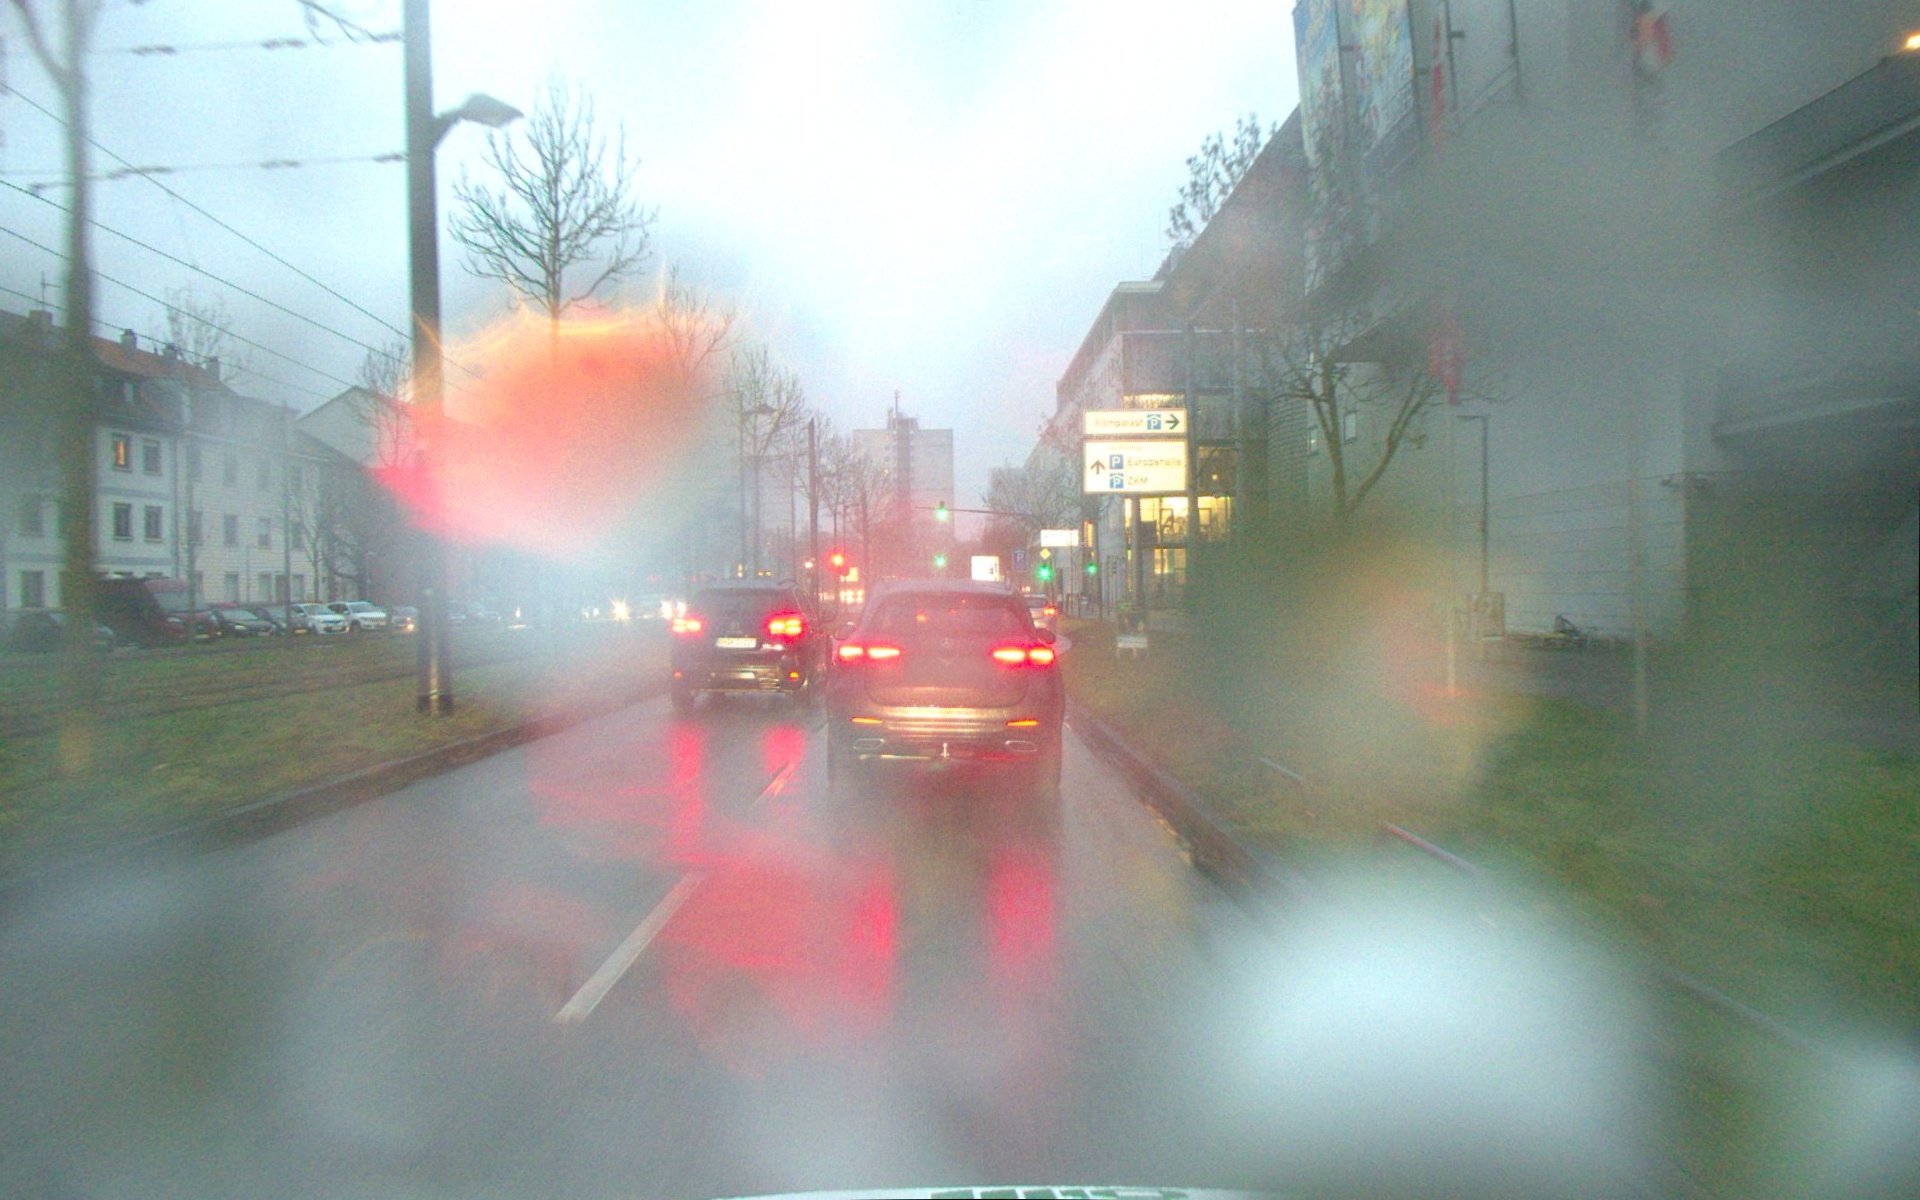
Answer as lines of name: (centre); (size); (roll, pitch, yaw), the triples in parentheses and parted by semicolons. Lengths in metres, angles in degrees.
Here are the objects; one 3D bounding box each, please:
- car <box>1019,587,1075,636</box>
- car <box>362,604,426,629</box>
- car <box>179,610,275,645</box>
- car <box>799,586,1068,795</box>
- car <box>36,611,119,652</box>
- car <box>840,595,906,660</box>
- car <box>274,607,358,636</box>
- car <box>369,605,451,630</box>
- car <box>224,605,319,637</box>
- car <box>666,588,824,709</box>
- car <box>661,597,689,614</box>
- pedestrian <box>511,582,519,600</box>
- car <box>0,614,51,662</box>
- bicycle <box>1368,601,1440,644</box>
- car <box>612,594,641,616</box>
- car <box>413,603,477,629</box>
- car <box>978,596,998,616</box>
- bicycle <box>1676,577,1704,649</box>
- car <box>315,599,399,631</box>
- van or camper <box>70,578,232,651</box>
car: (2.924, 0.368, 56.038); (1.828, 1.570, 3.611); (1, 0, 2)
car: (-27.894, 0.802, 81.540); (2.978, 1.167, 1.394); (1, 0, 30)
car: (-28.615, 1.049, 64.551); (3.464, 1.233, 1.744); (1, 0, 31)
car: (-0.222, 0.666, 14.010); (1.953, 1.509, 3.699); (1, 0, -1)
car: (-27.846, 0.976, 52.147); (2.835, 1.225, 1.381); (1, 0, 41)
car: (-2.327, 0.712, 44.878); (1.655, 1.664, 3.473); (1, 0, -1)
car: (-27.755, 0.924, 71.271); (3.345, 1.167, 1.688); (1, 0, 31)
car: (-28.084, 0.883, 84.432); (4.098, 1.135, 1.678); (1, 0, 30)
car: (-28.053, 0.837, 67.345); (3.464, 1.221, 1.878); (1, 0, 31)
car: (-2.827, 0.585, 22.485); (1.781, 1.476, 3.998); (1, 0, -3)
car: (-26.635, 0.475, 154.668); (1.842, 1.529, 4.788); (1, 0, -2)
pedestrian: (-30.330, -0.621, 112.753); (0.343, 1.205, 0.428); (1, 0, -41)
car: (-28.520, 1.118, 49.473); (3.040, 1.325, 1.381); (1, 0, 41)
bicycle: (11.672, 0.583, 43.504); (1.772, 1.070, 0.396); (-2, 0, -3)
car: (-26.256, 0.371, 130.445); (1.581, 1.651, 3.508); (1, 0, -1)
car: (-28.500, 0.880, 91.514); (3.691, 1.360, 1.448); (0, 1, 35)
car: (2.366, 0.521, 138.422); (1.582, 1.599, 3.352); (1, 0, 2)
bicycle: (13.693, 0.237, 31.029); (0.402, 1.307, 1.742); (1, 0, 26)
car: (-28.339, 0.671, 77.720); (4.042, 1.402, 1.766); (1, 0, 36)
van or camper: (-28.728, 0.474, 58.651); (6.737, 2.401, 1.994); (1, 0, 33)
